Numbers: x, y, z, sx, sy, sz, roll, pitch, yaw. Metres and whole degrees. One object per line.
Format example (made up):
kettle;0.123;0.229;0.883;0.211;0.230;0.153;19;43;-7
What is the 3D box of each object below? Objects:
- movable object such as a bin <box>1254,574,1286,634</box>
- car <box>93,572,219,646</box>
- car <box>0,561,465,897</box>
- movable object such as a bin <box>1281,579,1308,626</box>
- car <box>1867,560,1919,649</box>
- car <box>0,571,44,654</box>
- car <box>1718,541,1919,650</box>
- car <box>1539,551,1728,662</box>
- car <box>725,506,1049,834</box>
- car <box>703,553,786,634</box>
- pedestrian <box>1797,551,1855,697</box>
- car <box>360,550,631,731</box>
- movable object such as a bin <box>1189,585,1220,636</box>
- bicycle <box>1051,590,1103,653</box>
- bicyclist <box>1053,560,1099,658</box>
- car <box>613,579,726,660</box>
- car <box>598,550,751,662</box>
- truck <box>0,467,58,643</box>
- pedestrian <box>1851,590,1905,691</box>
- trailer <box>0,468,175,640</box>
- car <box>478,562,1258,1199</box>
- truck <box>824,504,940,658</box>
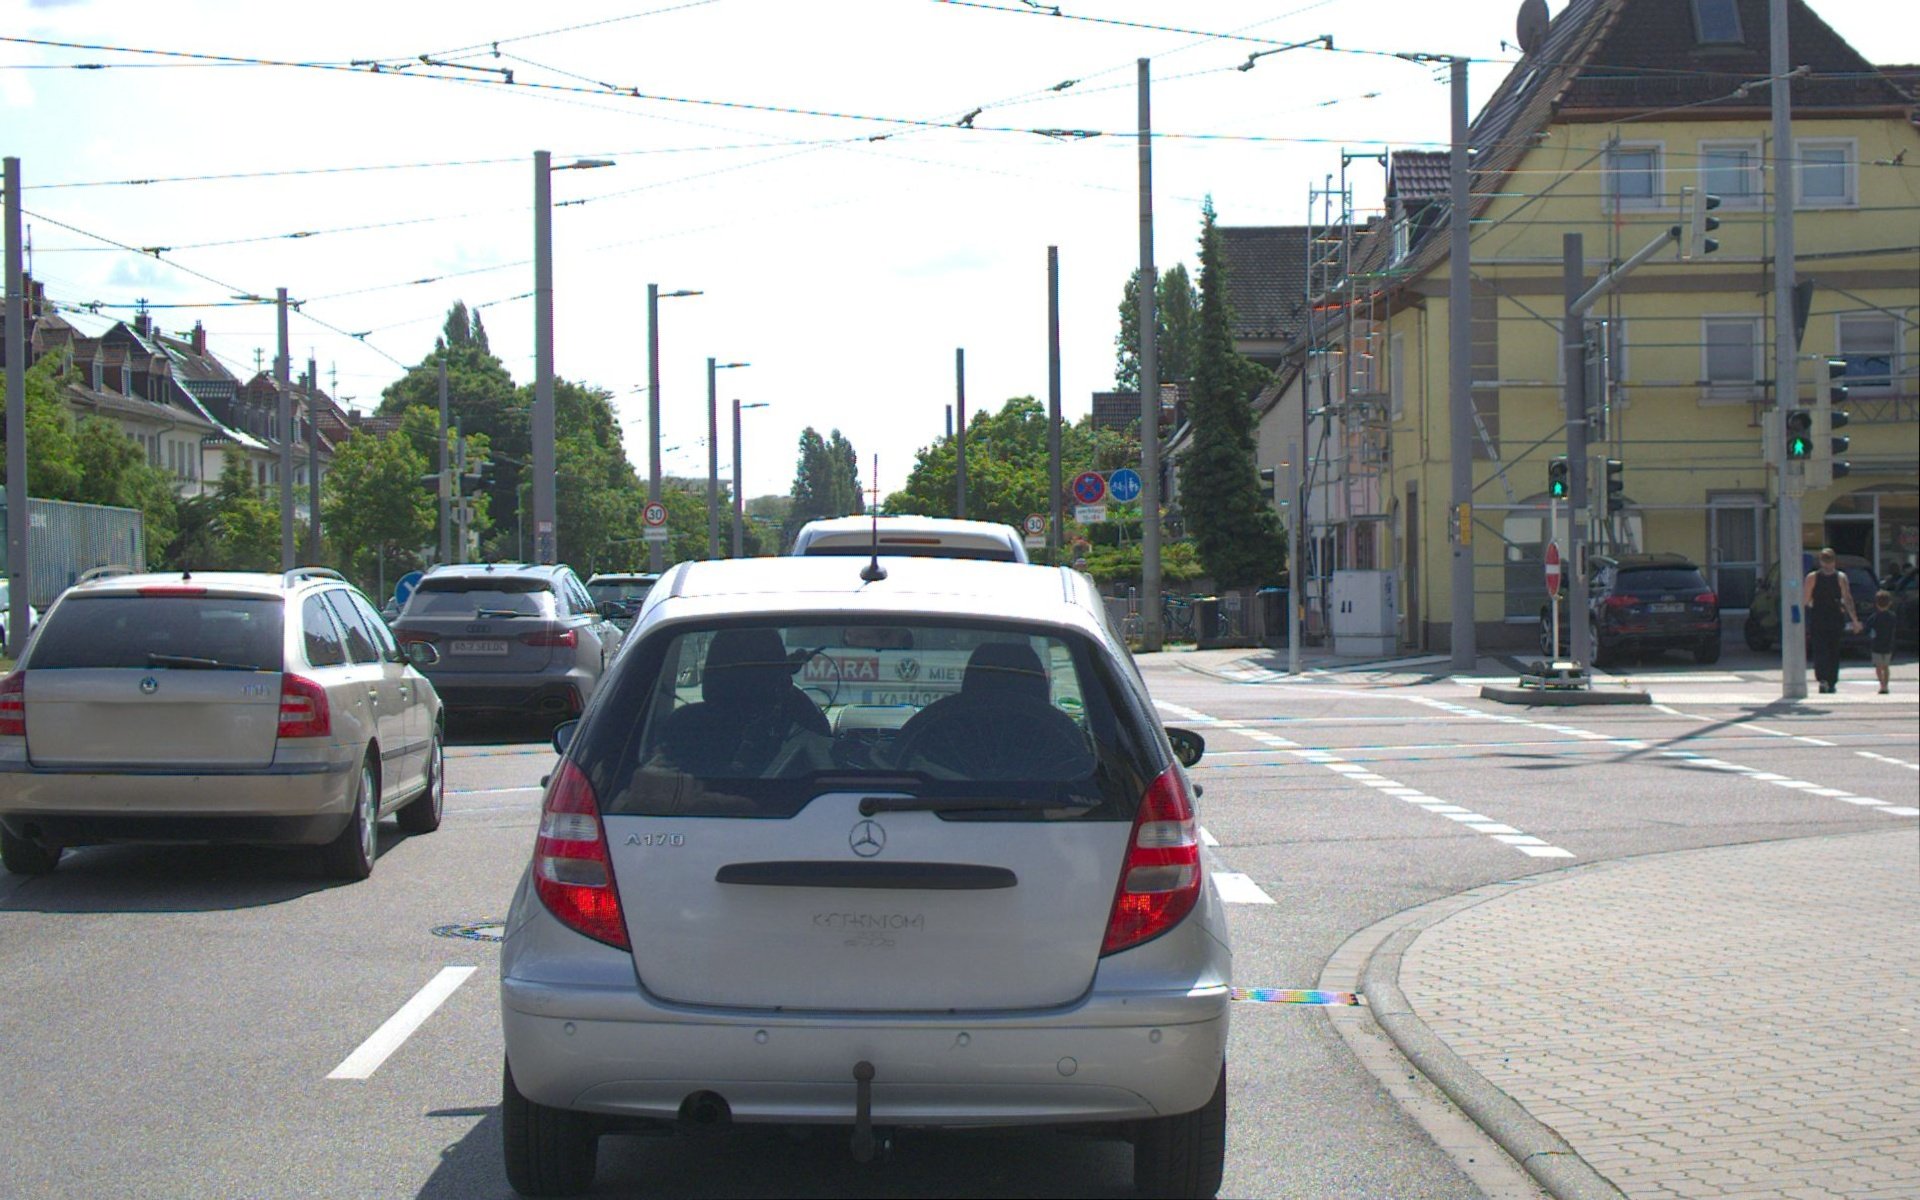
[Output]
movable object such as a bin;5.705;0.070;63.269;0.511;1.101;0.855;0;0;0
car;-18.707;0.197;80.140;1.794;1.631;4.471;-1;0;1
car;-3.650;0.552;17.390;1.731;1.444;4.123;1;1;-1
movable object such as a bin;6.712;0.049;69.051;0.468;0.943;0.558;-1;0;-1
car;15.486;0.089;52.937;1.867;1.347;4.131;1;0;-1
car;-18.829;0.289;64.768;1.993;1.547;4.178;-4;0;-1
car;13.184;-0.067;53.019;1.993;1.590;4.131;1;0;-1
car;10.217;0.096;52.446;1.993;1.590;4.131;1;0;-1
car;-0.455;0.381;20.710;1.730;1.756;4.017;1;0;-2
car;-5.024;-0.149;80.528;1.852;1.837;3.919;1;0;-3
pedestrian;9.871;0.272;39.184;0.547;1.638;0.401;1;0;4
car;-4.076;0.329;30.815;1.916;1.472;4.562;1;0;-2
movable object such as a bin;4.496;0.192;63.151;0.511;0.915;0.741;0;0;0
bicycle;2.087;0.380;61.607;0.650;1.114;1.588;1;0;-8
bicyclist;2.080;0.164;61.689;0.650;1.732;0.984;1;0;-8
car;-5.205;0.349;61.984;1.852;1.384;3.919;1;0;-3
car;-3.734;0.074;45.590;1.852;1.384;4.515;1;0;-3
truck;-22.043;-0.948;75.597;2.599;3.808;5.667;-3;1;2
pedestrian;10.442;0.460;39.110;0.488;1.132;0.389;1;0;-1
trailer;-21.892;-1.120;82.856;2.599;3.808;12.837;-3;1;1
car;-0.317;0.686;9.734;1.729;1.512;4.017;1;0;-3
truck;-1.414;-0.311;60.389;1.852;2.543;5.855;1;0;-3
